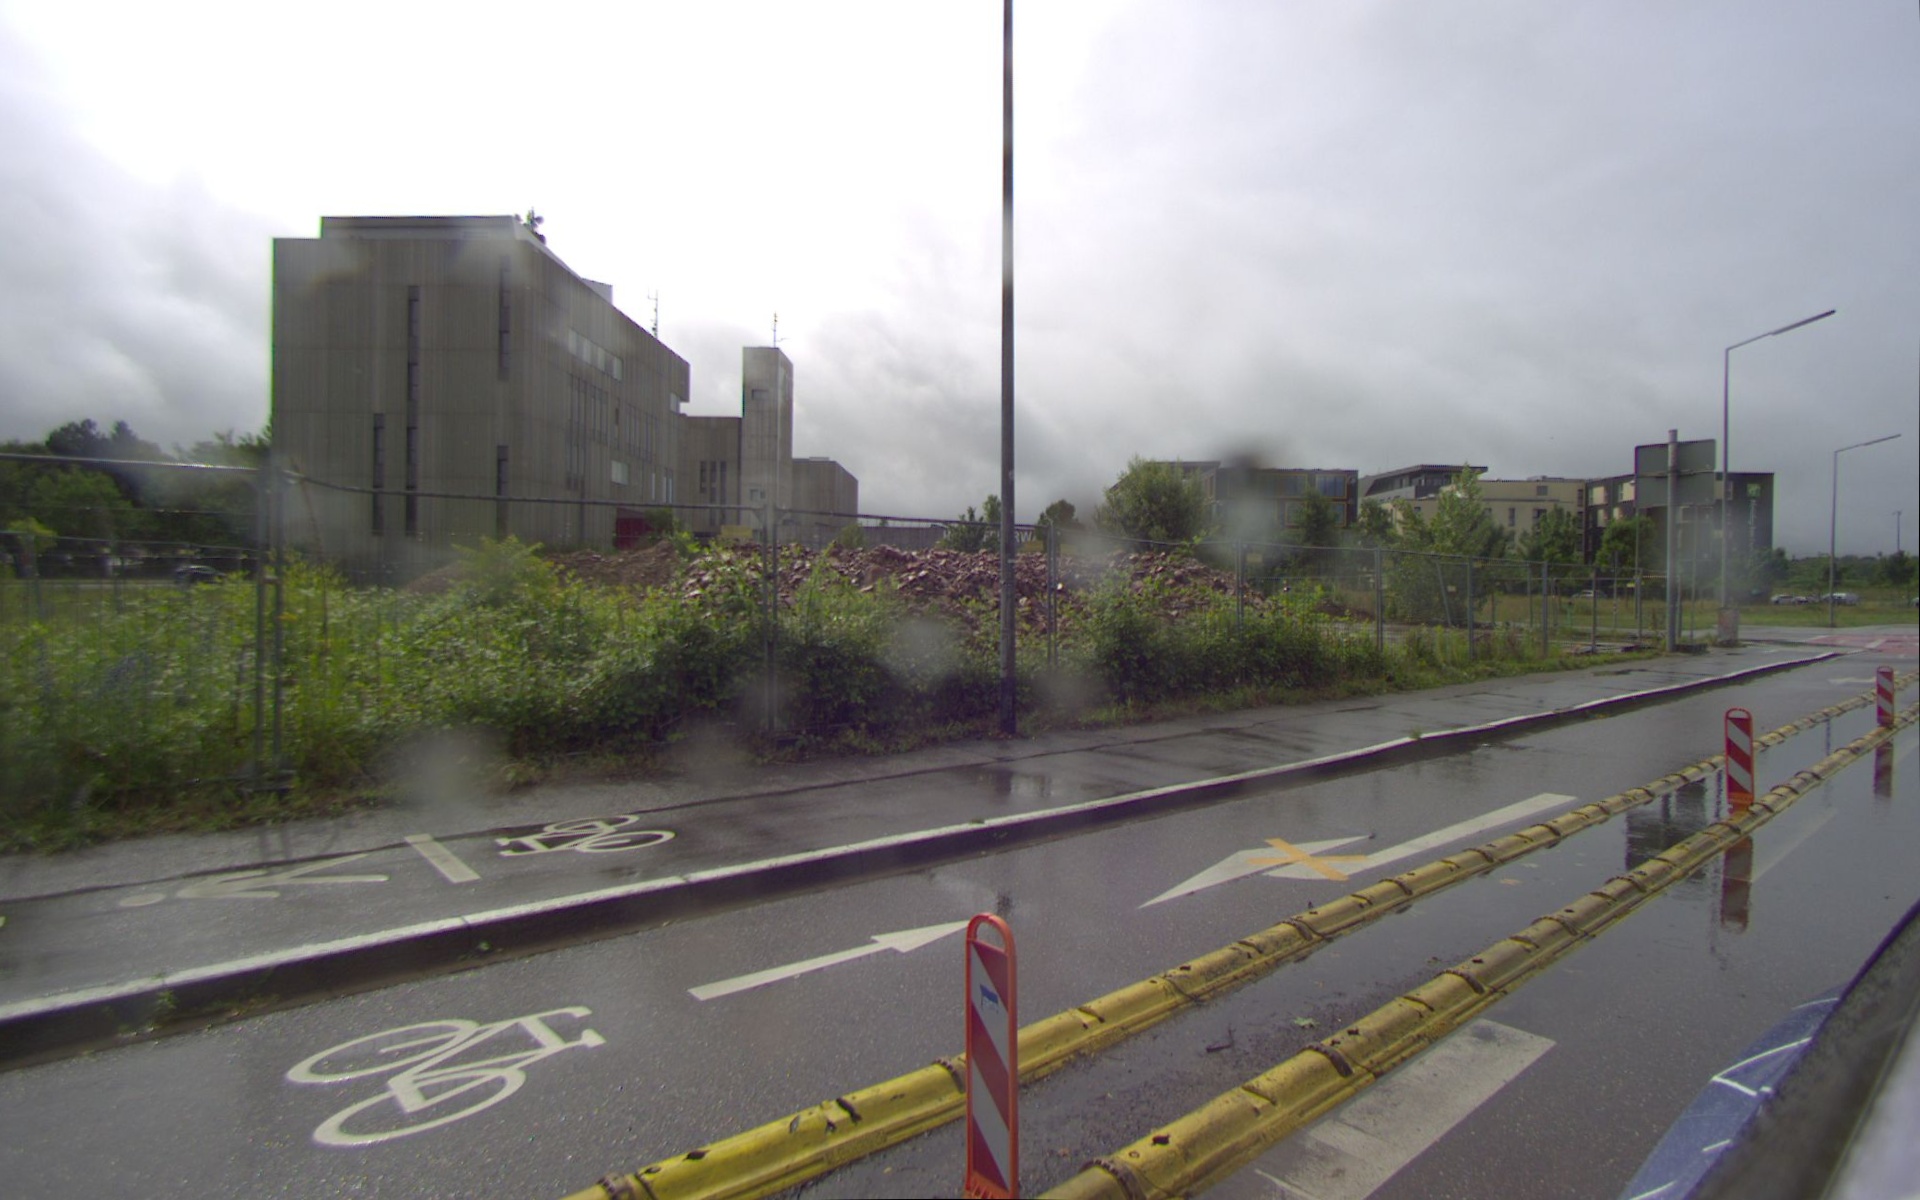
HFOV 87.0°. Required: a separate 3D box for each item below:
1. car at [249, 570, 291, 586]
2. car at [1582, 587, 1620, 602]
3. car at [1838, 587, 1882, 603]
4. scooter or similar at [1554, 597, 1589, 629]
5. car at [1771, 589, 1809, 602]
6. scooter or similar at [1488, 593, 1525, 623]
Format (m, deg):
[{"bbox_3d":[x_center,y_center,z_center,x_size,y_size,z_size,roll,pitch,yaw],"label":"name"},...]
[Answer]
[{"bbox_3d":[-74.309,-2.362,109.006,1.515,1.578,4.233,1,1,2],"label":"car"},{"bbox_3d":[71.665,-0.601,113.158,3.591,1.603,1.652,0,0,-18],"label":"car"},{"bbox_3d":[120.642,-0.680,135.641,3.929,2.039,1.997,1,0,5],"label":"car"},{"bbox_3d":[22.966,0.487,38.032,0.473,1.164,1.197,1,1,-8],"label":"scooter or similar"},{"bbox_3d":[110.106,-0.594,134.246,3.589,1.631,1.596,1,0,9],"label":"car"},{"bbox_3d":[21.995,0.318,40.730,0.731,1.164,1.197,1,1,-8],"label":"scooter or similar"}]
